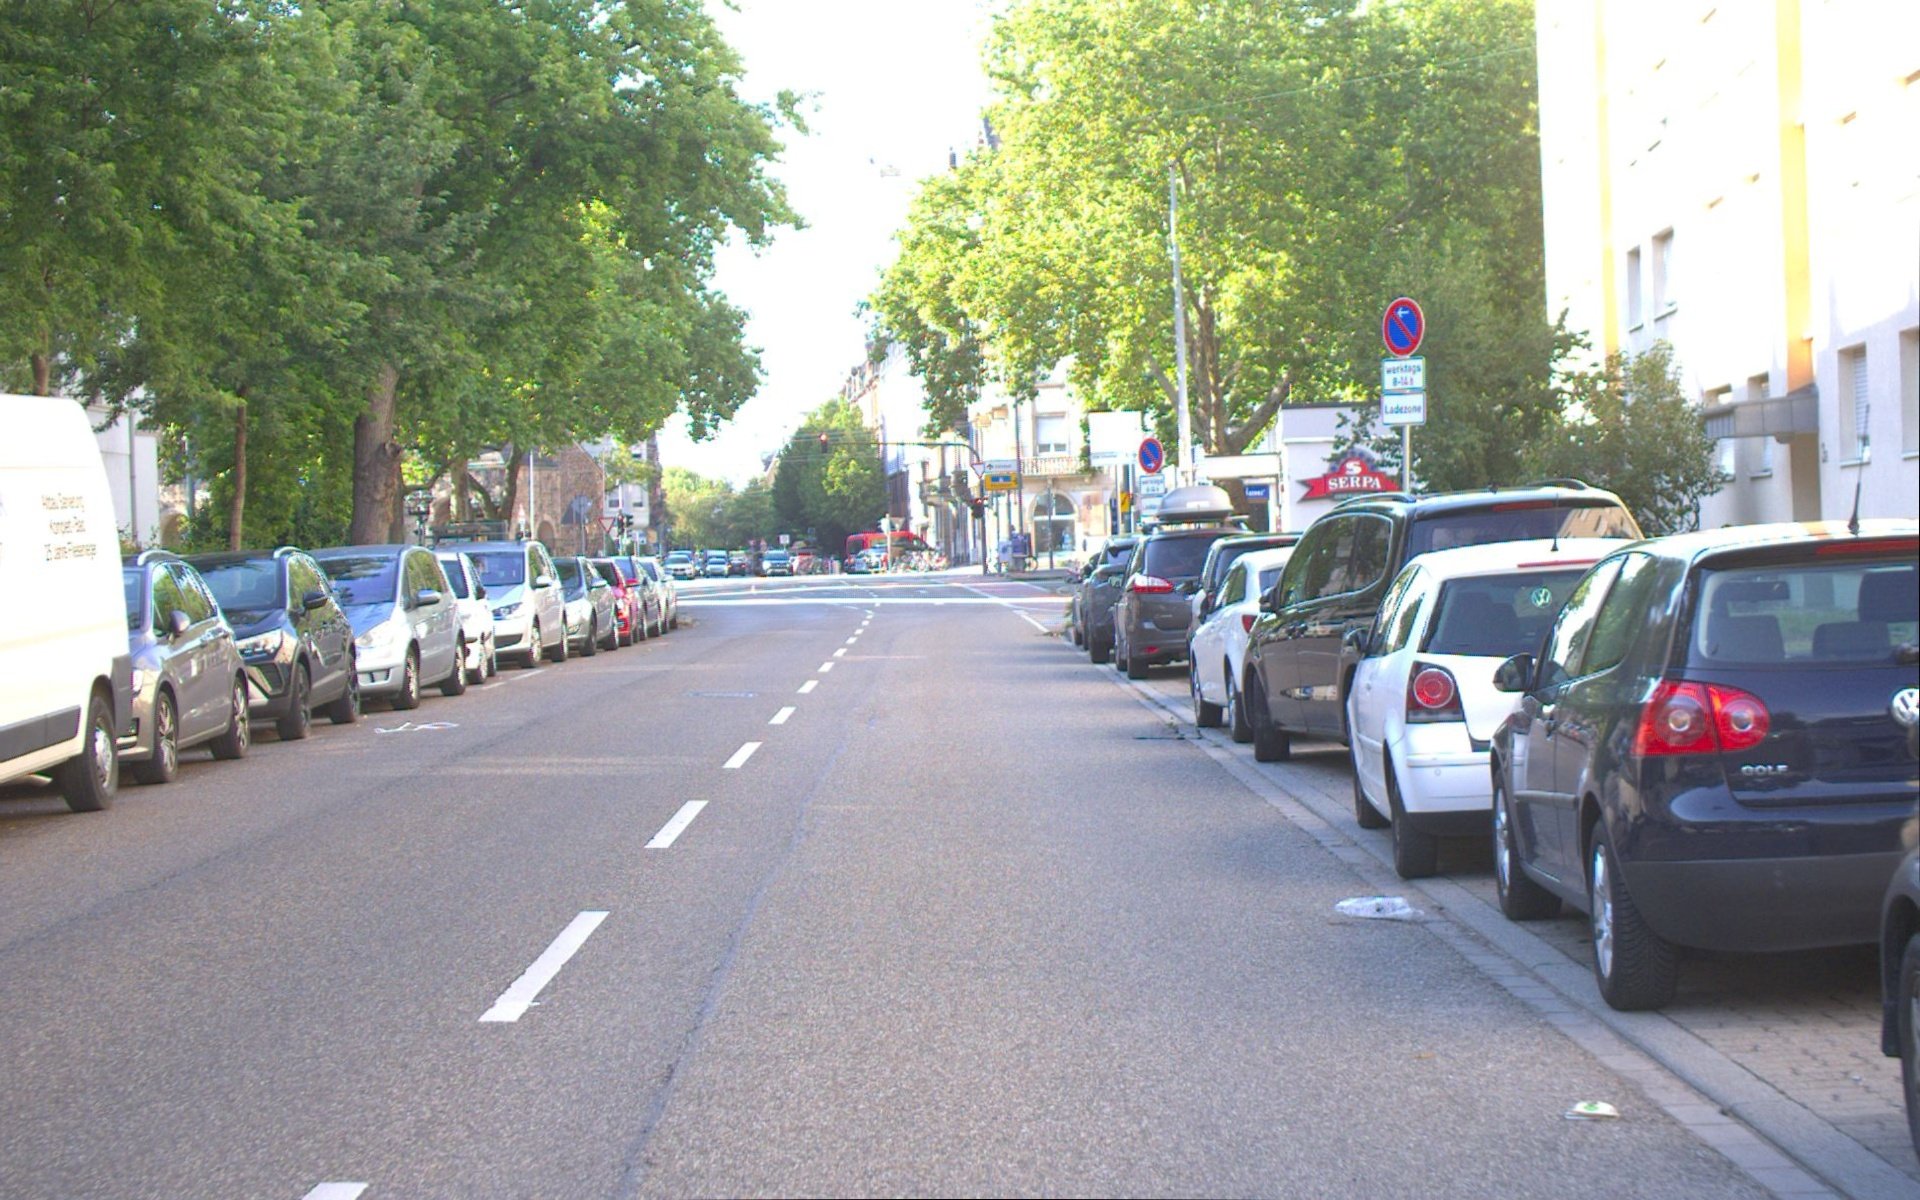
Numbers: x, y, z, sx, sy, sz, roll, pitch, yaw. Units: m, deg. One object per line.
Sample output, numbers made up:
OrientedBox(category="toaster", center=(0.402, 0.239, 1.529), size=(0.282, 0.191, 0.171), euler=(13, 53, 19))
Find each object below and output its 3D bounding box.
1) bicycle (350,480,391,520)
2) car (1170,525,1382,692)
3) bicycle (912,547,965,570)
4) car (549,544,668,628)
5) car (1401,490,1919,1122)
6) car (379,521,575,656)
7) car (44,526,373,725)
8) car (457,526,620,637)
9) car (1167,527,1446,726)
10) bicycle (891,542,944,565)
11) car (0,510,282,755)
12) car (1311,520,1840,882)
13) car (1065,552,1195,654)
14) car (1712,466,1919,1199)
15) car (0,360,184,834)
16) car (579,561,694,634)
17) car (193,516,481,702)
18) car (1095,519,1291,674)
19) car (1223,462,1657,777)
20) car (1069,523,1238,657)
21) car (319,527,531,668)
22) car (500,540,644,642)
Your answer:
OrientedBox(category="bicycle", center=(-18.255, -3.095, 106.575), size=(0.718, 1.142, 3.292), euler=(1, 0, -1))
OrientedBox(category="car", center=(2.996, 0.085, 33.253), size=(1.605, 1.489, 4.042), euler=(-1, 0, -1))
OrientedBox(category="bicycle", center=(-1.136, -2.193, 183.247), size=(2.802, 1.199, 0.510), euler=(1, 0, -6))
OrientedBox(category="car", center=(-6.208, -0.233, 61.072), size=(1.703, 1.435, 4.129), euler=(1, 0, 0))
OrientedBox(category="car", center=(2.758, 0.576, 11.921), size=(1.837, 1.766, 3.978), euler=(-4, 0, 0))
OrientedBox(category="car", center=(-6.330, -0.135, 45.538), size=(1.916, 1.672, 4.974), euler=(1, 0, 0))
OrientedBox(category="car", center=(-6.320, 0.208, 29.394), size=(1.870, 1.553, 4.365), euler=(1, 0, 0))
OrientedBox(category="car", center=(-6.194, -0.251, 50.959), size=(1.870, 1.553, 4.497), euler=(1, 0, 0))
OrientedBox(category="car", center=(2.636, 0.198, 27.112), size=(1.679, 1.411, 4.724), euler=(1, 0, 0))
OrientedBox(category="bicycle", center=(-2.306, -2.490, 184.783), size=(2.802, 1.199, 0.517), euler=(1, 0, -7))
OrientedBox(category="car", center=(-6.165, 0.211, 24.134), size=(1.957, 1.553, 4.346), euler=(1, 0, 0))
OrientedBox(category="car", center=(2.788, 0.430, 16.474), size=(1.837, 1.496, 4.172), euler=(1, 0, 1))
OrientedBox(category="car", center=(2.556, 0.052, 52.403), size=(1.740, 1.468, 4.000), euler=(1, 0, 0))
OrientedBox(category="car", center=(2.971, 0.492, 6.837), size=(1.962, 1.600, 4.279), euler=(-2, 0, 0))
OrientedBox(category="car", center=(-6.096, 0.053, 18.326), size=(2.358, 2.437, 6.165), euler=(-4, 0, 0))
OrientedBox(category="car", center=(-6.180, -0.036, 66.103), size=(1.769, 1.348, 4.710), euler=(1, 0, 0))
OrientedBox(category="car", center=(-6.117, 0.032, 34.357), size=(1.871, 1.553, 5.057), euler=(-5, 1, 0))
OrientedBox(category="car", center=(2.624, -0.072, 39.617), size=(1.897, 1.645, 4.343), euler=(-1, 1, -1))
OrientedBox(category="car", center=(2.874, 0.120, 21.668), size=(2.024, 1.744, 4.766), euler=(1, 0, 0))
OrientedBox(category="car", center=(2.490, -0.121, 45.259), size=(1.927, 1.653, 4.677), euler=(1, 0, 0))
OrientedBox(category="car", center=(-6.249, -0.020, 40.566), size=(1.870, 1.553, 4.101), euler=(1, 0, 0))
OrientedBox(category="car", center=(-6.172, -0.126, 55.100), size=(1.870, 1.553, 4.000), euler=(1, 0, 0))
